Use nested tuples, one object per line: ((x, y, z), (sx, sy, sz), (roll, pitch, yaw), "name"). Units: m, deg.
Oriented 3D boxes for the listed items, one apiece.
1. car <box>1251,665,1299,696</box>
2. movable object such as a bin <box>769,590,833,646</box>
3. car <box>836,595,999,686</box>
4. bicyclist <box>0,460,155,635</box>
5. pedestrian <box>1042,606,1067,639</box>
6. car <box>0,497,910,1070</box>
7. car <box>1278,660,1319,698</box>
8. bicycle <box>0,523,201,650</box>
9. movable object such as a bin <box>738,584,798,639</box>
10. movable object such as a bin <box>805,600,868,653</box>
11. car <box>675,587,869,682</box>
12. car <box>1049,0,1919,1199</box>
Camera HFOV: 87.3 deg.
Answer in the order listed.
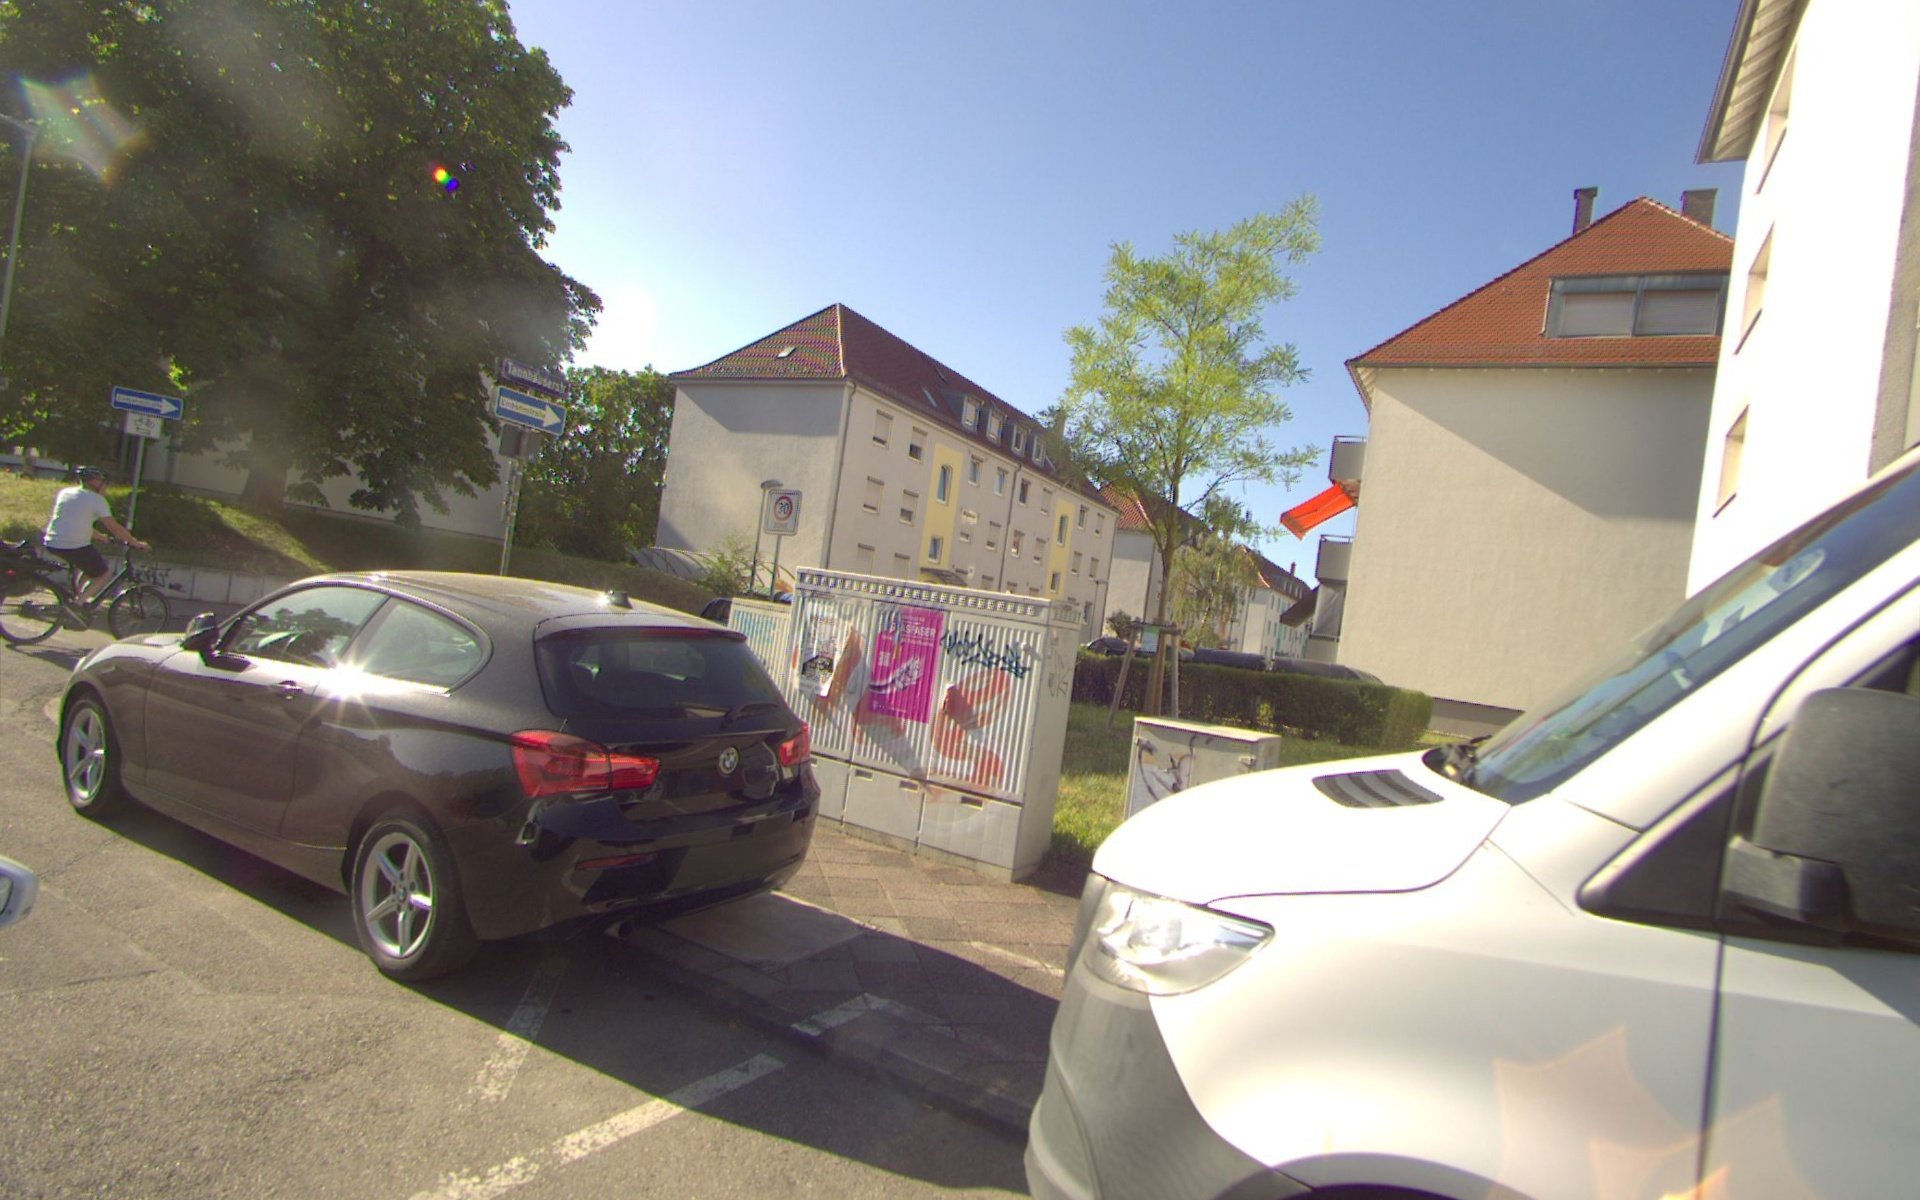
((19.442, 4.970, 62.035), (1.868, 1.513, 4.088), (8, -1, 29), "car")
((-5.413, 0.628, 34.275), (1.478, 1.642, 1.262), (8, -1, 30), "movable object such as a bin")
((-0.920, 1.049, 24.742), (1.838, 1.750, 4.291), (8, -1, 30), "car")
((-8.938, -0.506, 10.202), (0.683, 1.615, 0.792), (8, -1, 12), "bicyclist")
((5.522, 1.306, 58.876), (0.957, 1.735, 0.945), (8, 0, 30), "pedestrian")
((-2.706, 0.519, 5.041), (4.422, 1.500, 1.962), (8, 0, 30), "car")
((22.554, 5.286, 66.956), (1.597, 2.168, 3.996), (8, -1, 29), "car")
((-8.962, -0.102, 10.334), (0.650, 1.140, 1.768), (8, -1, 12), "bicycle")
((-6.674, 0.397, 34.977), (1.439, 1.632, 1.190), (8, -1, 30), "movable object such as a bin")
((-4.114, 0.890, 33.615), (1.471, 1.496, 1.263), (8, -1, 30), "movable object such as a bin")
((-3.597, 0.751, 19.959), (1.629, 1.445, 3.898), (8, -1, 27), "car")
((3.639, 0.722, 0.928), (6.728, 2.747, 2.145), (8, 1, 32), "car")
